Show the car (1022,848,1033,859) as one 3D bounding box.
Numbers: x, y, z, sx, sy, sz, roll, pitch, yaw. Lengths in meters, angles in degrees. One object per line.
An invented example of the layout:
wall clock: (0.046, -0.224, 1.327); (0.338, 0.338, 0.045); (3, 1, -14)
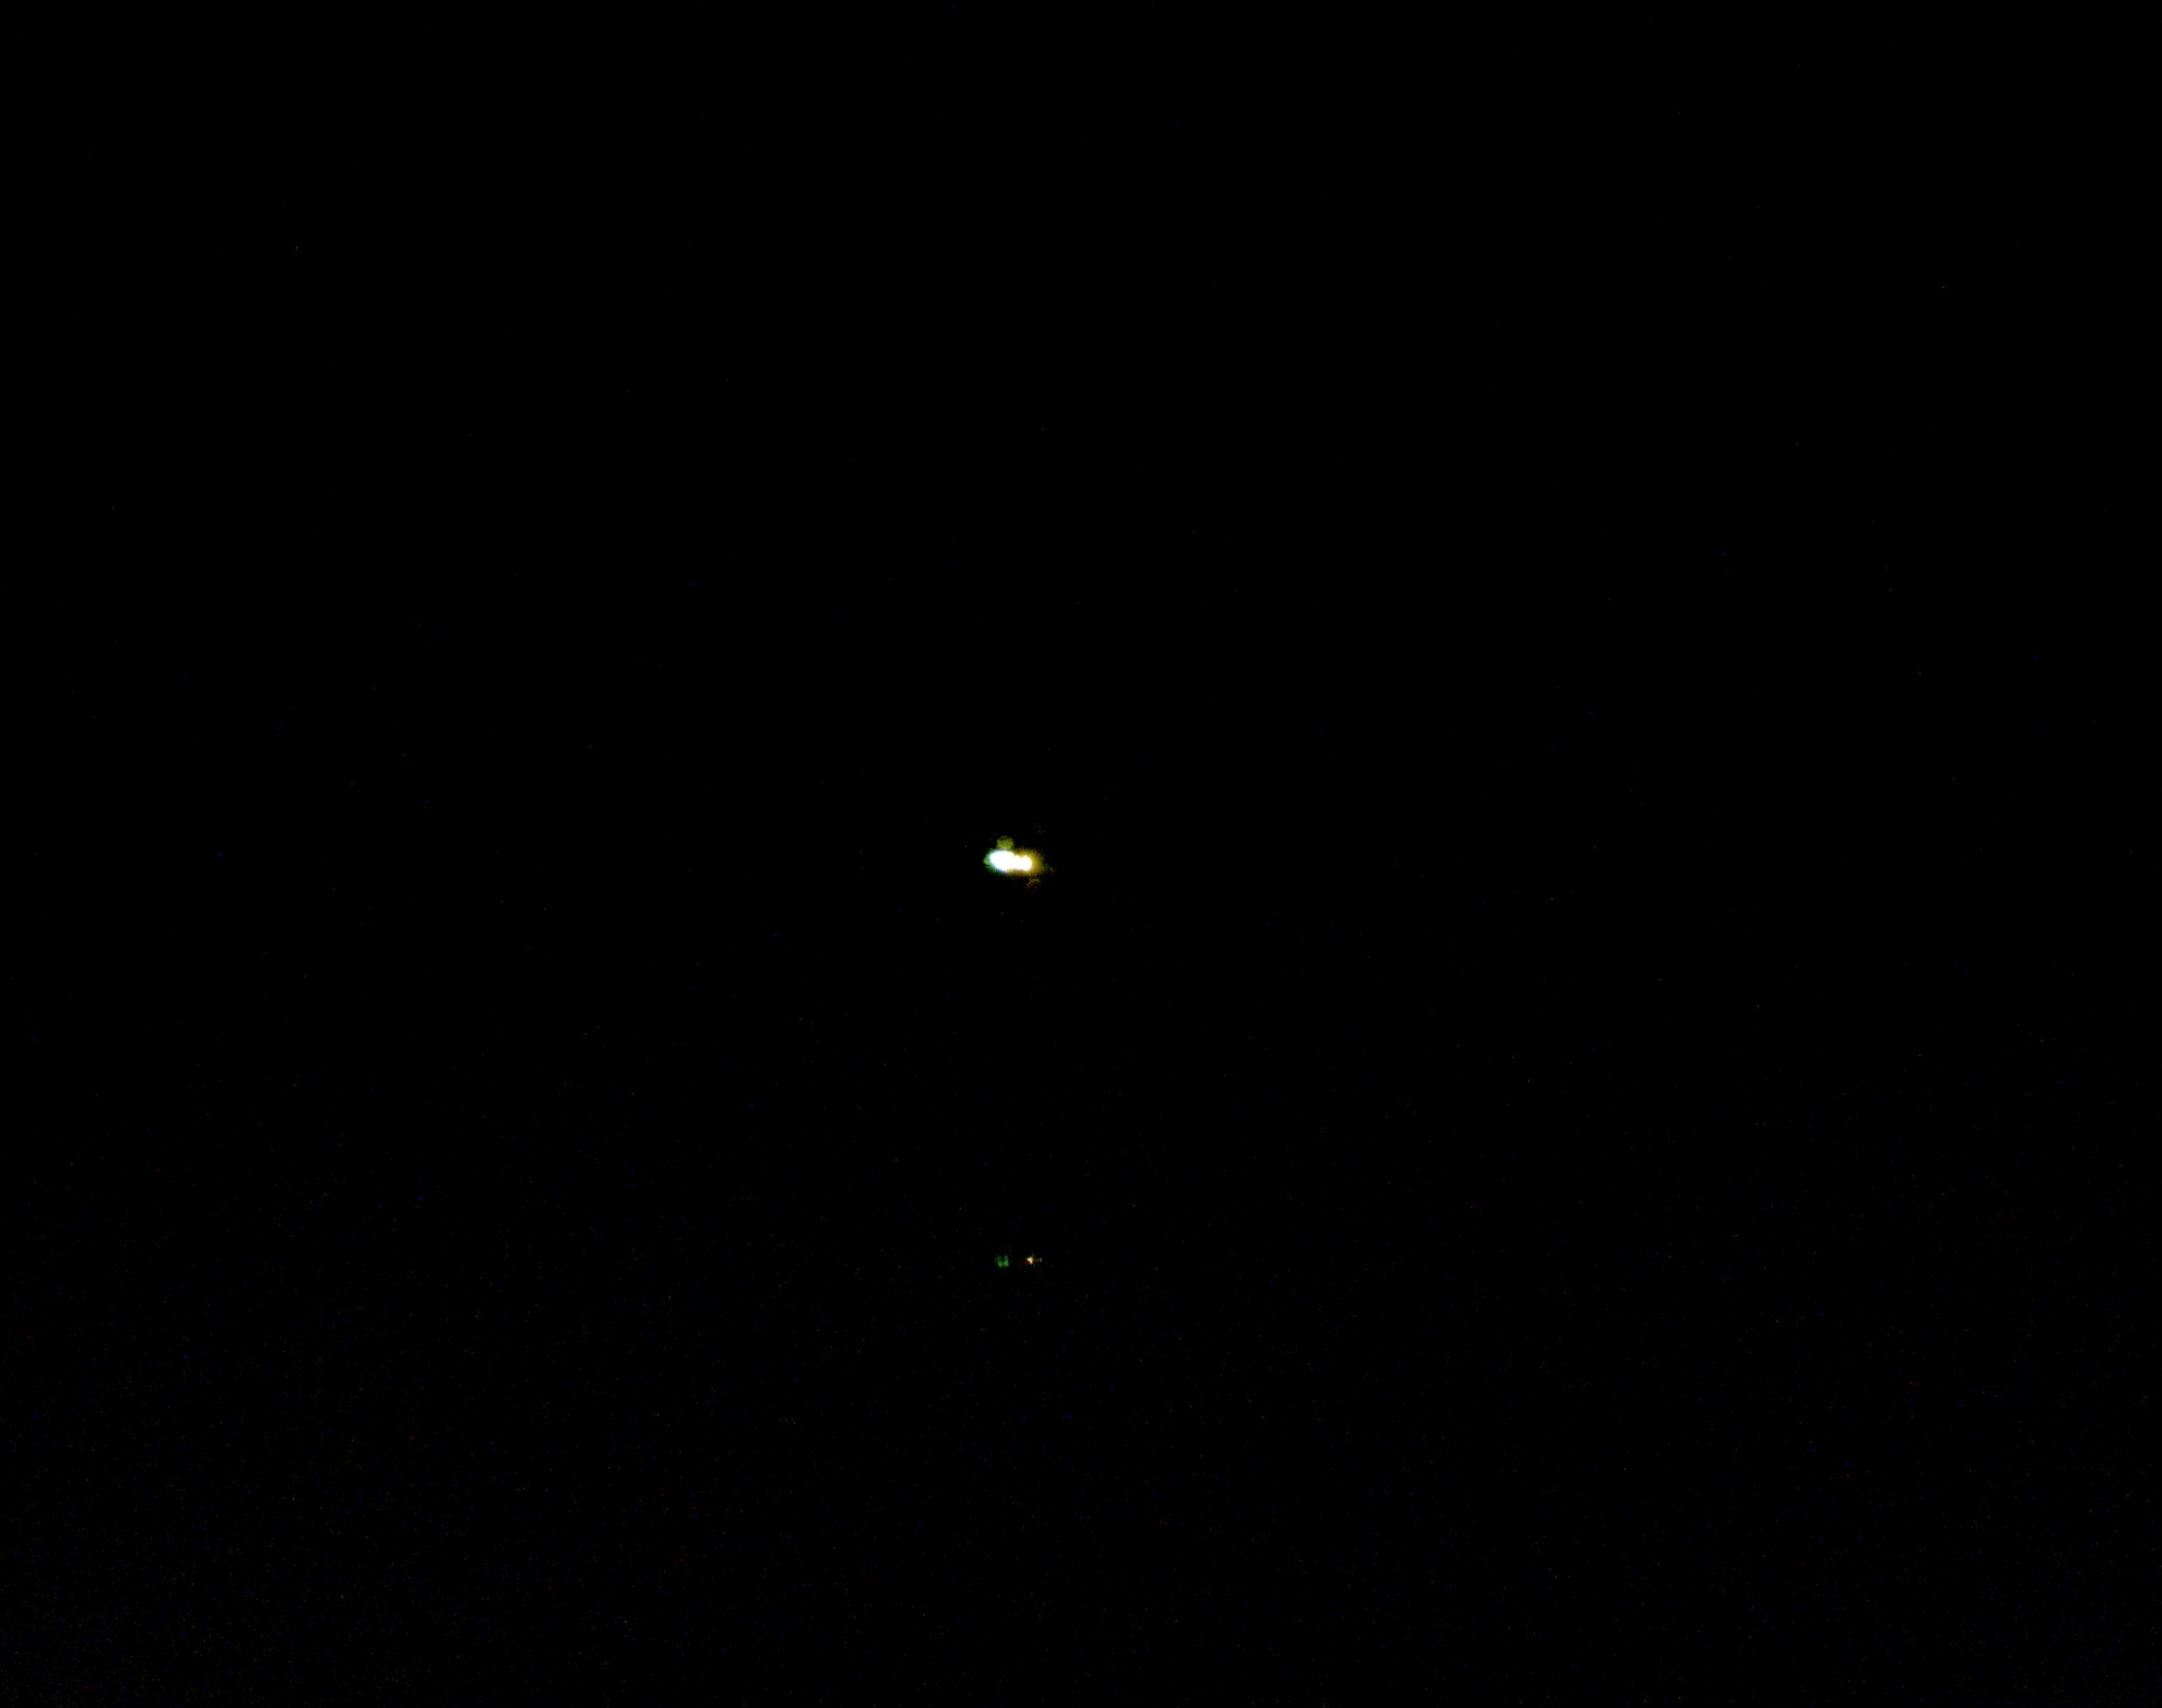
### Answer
car: (-9.897, -0.124, 140.041); (2.000, 2.002, 3.997); (0, 2, -6)
